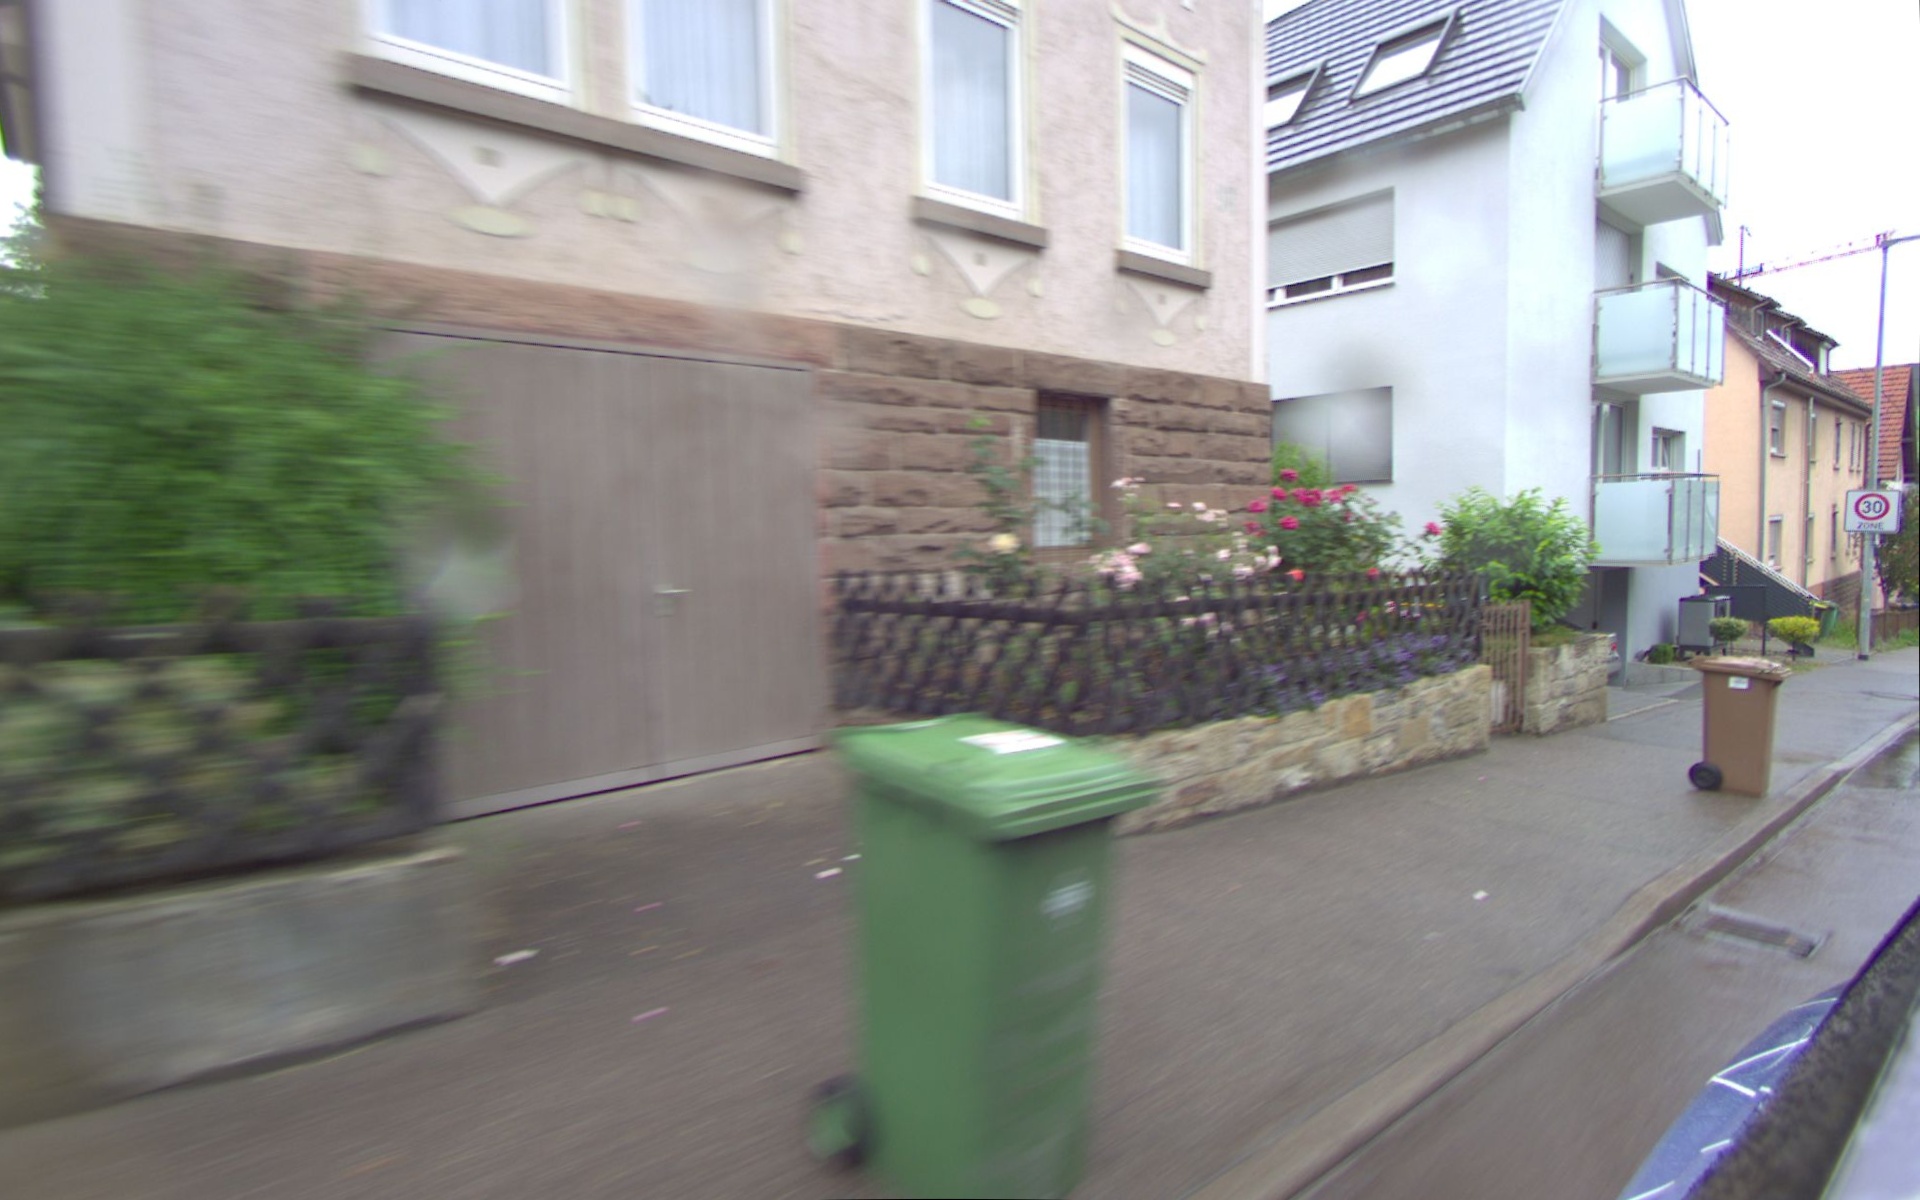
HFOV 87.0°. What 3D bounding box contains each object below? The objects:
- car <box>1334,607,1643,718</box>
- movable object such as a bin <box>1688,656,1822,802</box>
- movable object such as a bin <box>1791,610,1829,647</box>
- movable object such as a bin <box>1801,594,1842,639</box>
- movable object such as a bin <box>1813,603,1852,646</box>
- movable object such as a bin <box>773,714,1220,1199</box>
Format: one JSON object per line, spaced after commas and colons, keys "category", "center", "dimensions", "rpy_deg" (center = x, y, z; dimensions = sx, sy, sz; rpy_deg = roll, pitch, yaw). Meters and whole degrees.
{"category": "car", "center": [9.052, 0.966, 17.654], "dimensions": [1.725, 1.461, 4.478], "rpy_deg": [-4, 4, -40]}
{"category": "movable object such as a bin", "center": [5.650, 0.884, 7.193], "dimensions": [0.699, 0.908, 0.631], "rpy_deg": [0, 0, -41]}
{"category": "movable object such as a bin", "center": [21.547, 0.706, 25.661], "dimensions": [0.527, 0.906, 0.670], "rpy_deg": [1, 0, -41]}
{"category": "movable object such as a bin", "center": [22.184, 0.416, 26.048], "dimensions": [0.536, 1.106, 0.661], "rpy_deg": [0, 5, -43]}
{"category": "movable object such as a bin", "center": [24.012, 0.663, 27.853], "dimensions": [0.645, 1.106, 0.661], "rpy_deg": [0, 4, -43]}
{"category": "movable object such as a bin", "center": [0.073, 0.888, 2.471], "dimensions": [0.747, 1.084, 0.798], "rpy_deg": [0, 0, -39]}
